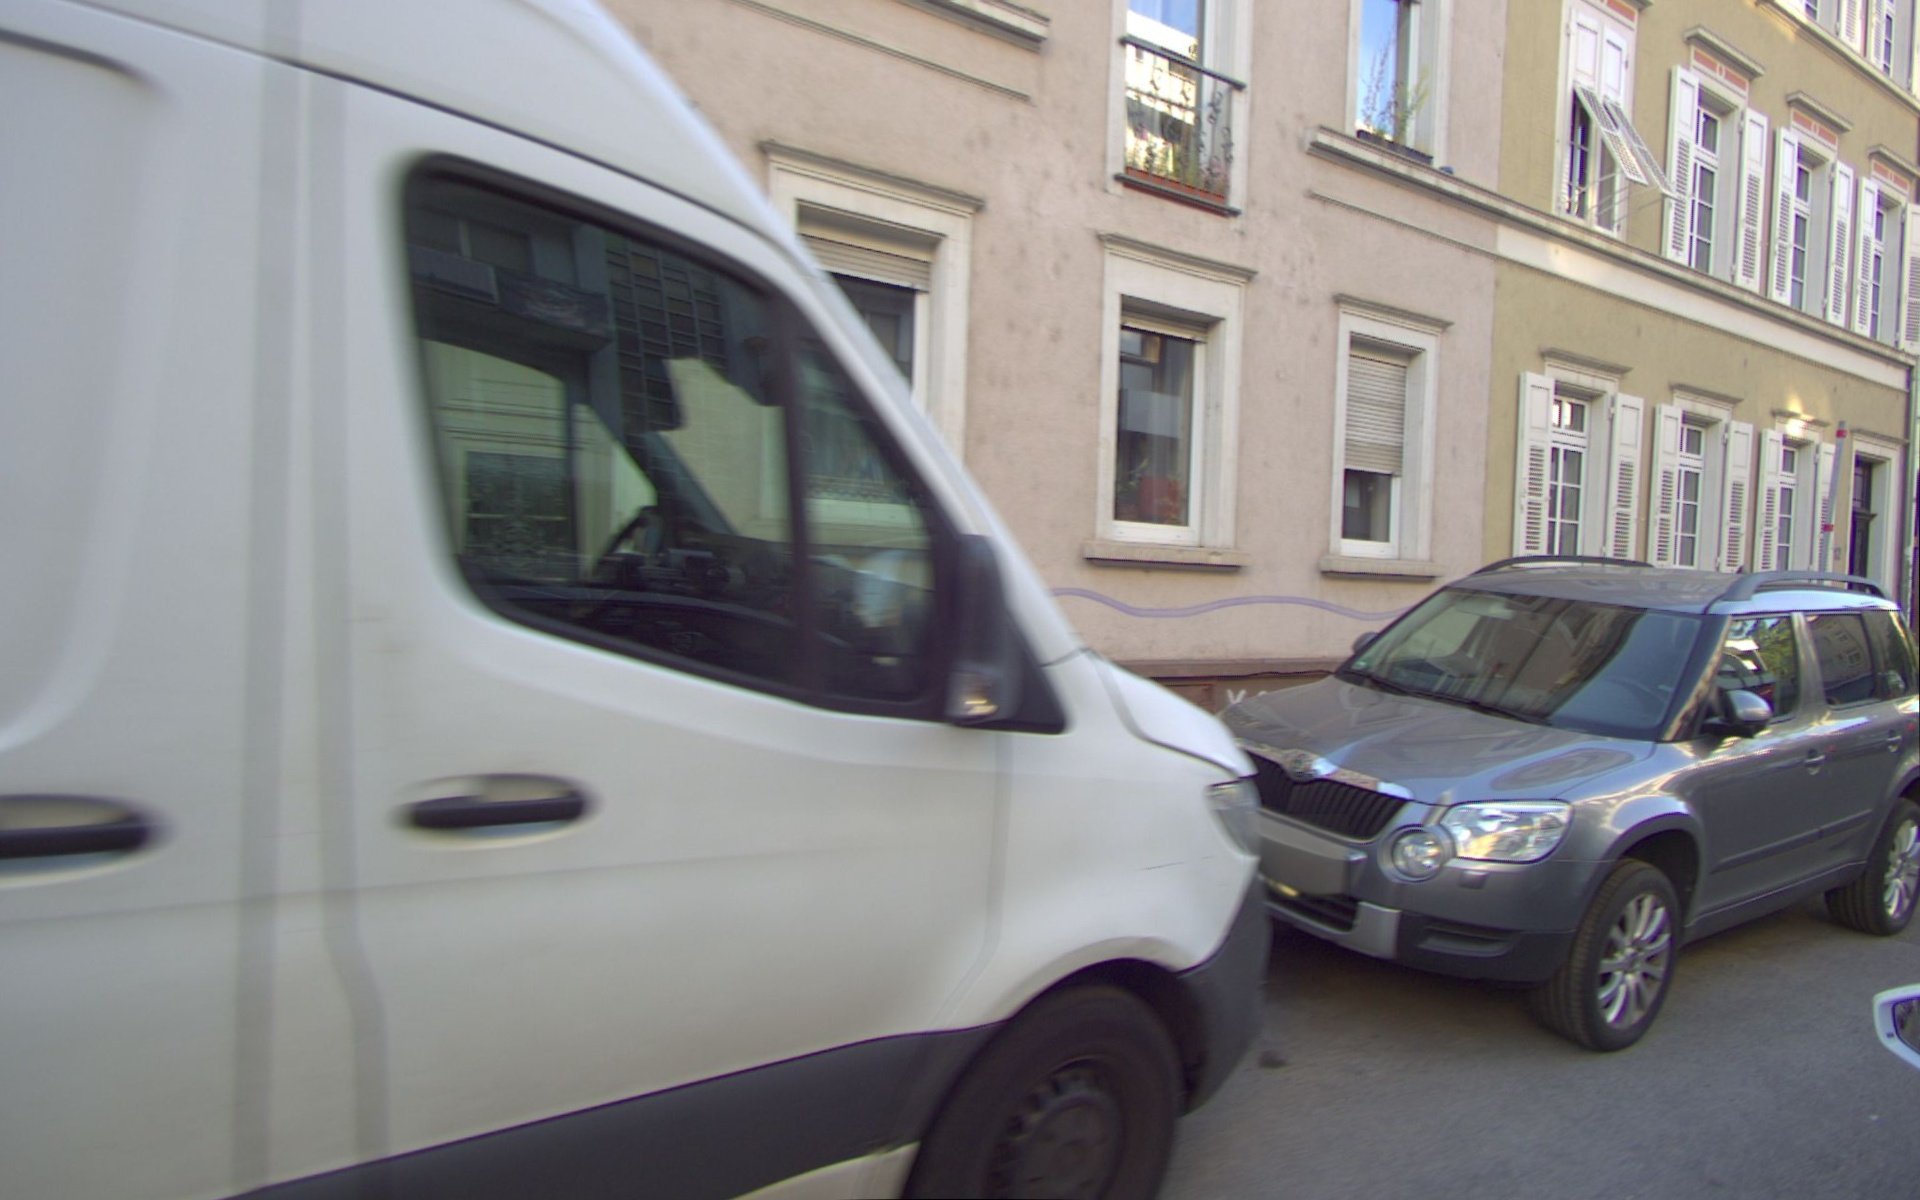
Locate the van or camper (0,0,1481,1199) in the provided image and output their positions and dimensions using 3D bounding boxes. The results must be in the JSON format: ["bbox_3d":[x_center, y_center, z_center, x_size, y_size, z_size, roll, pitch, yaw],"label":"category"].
[{"bbox_3d":[-2.209,0.074,1.416,7.063,2.685,1.938,1,0,-33],"label":"van or camper"}]

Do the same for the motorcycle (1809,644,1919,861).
[{"bbox_3d":[6.716,0.956,6.832,2.448,1.251,0.706,1,2,-33],"label":"motorcycle"}]

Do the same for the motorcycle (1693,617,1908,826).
[{"bbox_3d":[6.470,0.860,7.710,1.829,1.408,0.701,1,2,-33],"label":"motorcycle"}]

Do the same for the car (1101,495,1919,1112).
[{"bbox_3d":[2.934,0.590,4.789,4.245,1.774,1.853,1,2,-32],"label":"car"}]

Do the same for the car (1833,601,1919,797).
[{"bbox_3d":[9.308,0.838,8.710,3.816,1.517,1.699,1,2,-35],"label":"car"}]
